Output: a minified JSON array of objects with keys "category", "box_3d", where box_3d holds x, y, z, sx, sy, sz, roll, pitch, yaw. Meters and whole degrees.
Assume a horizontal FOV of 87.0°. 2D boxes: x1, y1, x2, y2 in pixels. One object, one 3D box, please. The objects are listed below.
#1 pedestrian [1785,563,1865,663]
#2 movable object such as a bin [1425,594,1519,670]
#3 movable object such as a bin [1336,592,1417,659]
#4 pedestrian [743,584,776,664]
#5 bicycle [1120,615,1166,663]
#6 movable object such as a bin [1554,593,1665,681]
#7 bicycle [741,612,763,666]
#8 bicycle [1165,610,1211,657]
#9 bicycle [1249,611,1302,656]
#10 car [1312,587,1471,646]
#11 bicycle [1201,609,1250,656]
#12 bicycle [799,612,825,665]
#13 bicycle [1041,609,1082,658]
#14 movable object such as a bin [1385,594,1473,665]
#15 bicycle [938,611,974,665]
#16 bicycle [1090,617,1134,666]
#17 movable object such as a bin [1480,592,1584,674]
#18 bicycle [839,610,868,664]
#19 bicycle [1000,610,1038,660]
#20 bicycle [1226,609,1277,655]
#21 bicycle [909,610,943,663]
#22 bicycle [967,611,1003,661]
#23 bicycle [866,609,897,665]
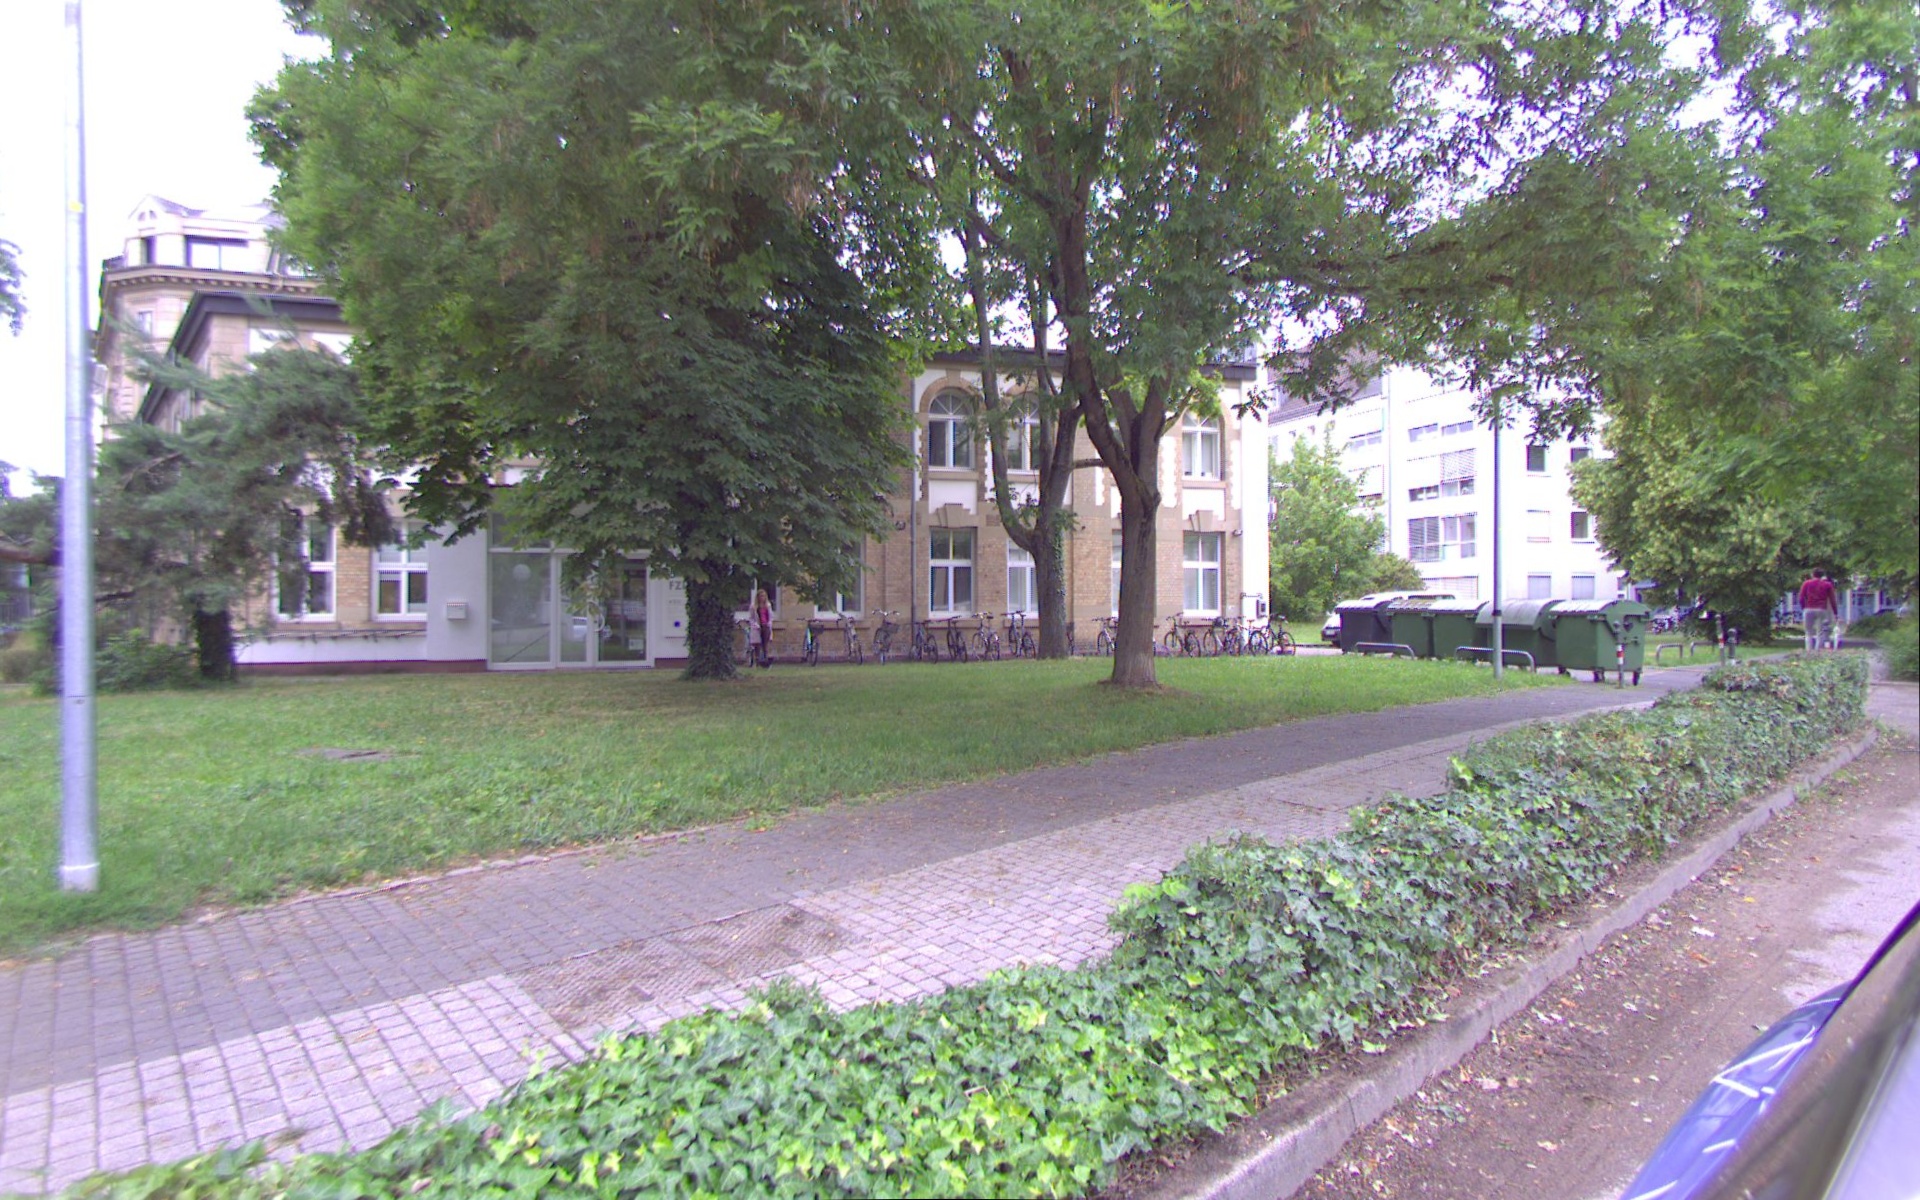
[{"category":"pedestrian","box_3d":[18.451,0.266,21.599,1.176,2.090,0.796,0,-1,-19]},{"category":"movable object such as a bin","box_3d":[10.417,0.630,20.625,1.085,1.469,1.297,0,-1,-20]},{"category":"movable object such as a bin","box_3d":[9.576,0.568,23.313,1.085,1.469,1.365,0,-1,-20]},{"category":"pedestrian","box_3d":[-4.116,0.488,20.725,0.614,1.607,0.605,0,-1,-15]},{"category":"bicycle","box_3d":[4.506,0.946,25.033,0.451,1.129,1.748,0,0,-13]},{"category":"movable object such as a bin","box_3d":[11.274,0.617,17.617,1.050,1.452,1.276,0,0,-6]},{"category":"bicycle","box_3d":[-4.629,0.836,22.484,0.451,1.129,1.748,0,0,-13]},{"category":"bicycle","box_3d":[5.685,0.824,25.338,0.451,1.129,1.747,0,0,-11]},{"category":"bicycle","box_3d":[8.147,0.849,26.196,0.451,1.129,1.748,0,0,-14]},{"category":"car","box_3d":[14.654,0.583,34.465,4.673,1.898,1.904,0,-3,-13]},{"category":"bicycle","box_3d":[6.733,0.807,25.732,0.451,1.129,1.748,0,0,-13]},{"category":"bicycle","box_3d":[-3.340,0.833,22.743,0.451,1.129,1.748,0,0,-13]},{"category":"bicycle","box_3d":[2.429,0.790,24.437,0.451,1.129,1.748,0,0,-13]},{"category":"movable object such as a bin","box_3d":[10.155,0.621,21.961,1.085,1.469,1.329,0,-1,-20]},{"category":"bicycle","box_3d":[-0.107,0.860,23.702,0.451,1.128,1.749,0,2,-13]},{"category":"bicycle","box_3d":[3.705,0.993,24.808,0.451,1.129,1.748,0,0,-13]},{"category":"movable object such as a bin","box_3d":[10.740,0.599,19.038,1.085,1.469,1.288,0,-1,-20]},{"category":"bicycle","box_3d":[-2.455,0.819,23.235,0.451,1.128,1.748,0,2,-13]},{"category":"bicycle","box_3d":[1.407,0.821,24.394,0.451,1.129,1.748,0,0,-13]},{"category":"bicycle","box_3d":[7.463,0.812,25.951,0.451,1.129,1.748,0,0,-13]},{"category":"bicycle","box_3d":[-0.800,0.820,23.554,0.451,1.128,1.748,0,1,-13]},{"category":"bicycle","box_3d":[0.580,0.834,24.050,0.451,1.129,1.748,0,0,-13]},{"category":"bicycle","box_3d":[-1.812,0.831,23.235,0.451,1.128,1.749,0,3,-13]}]
